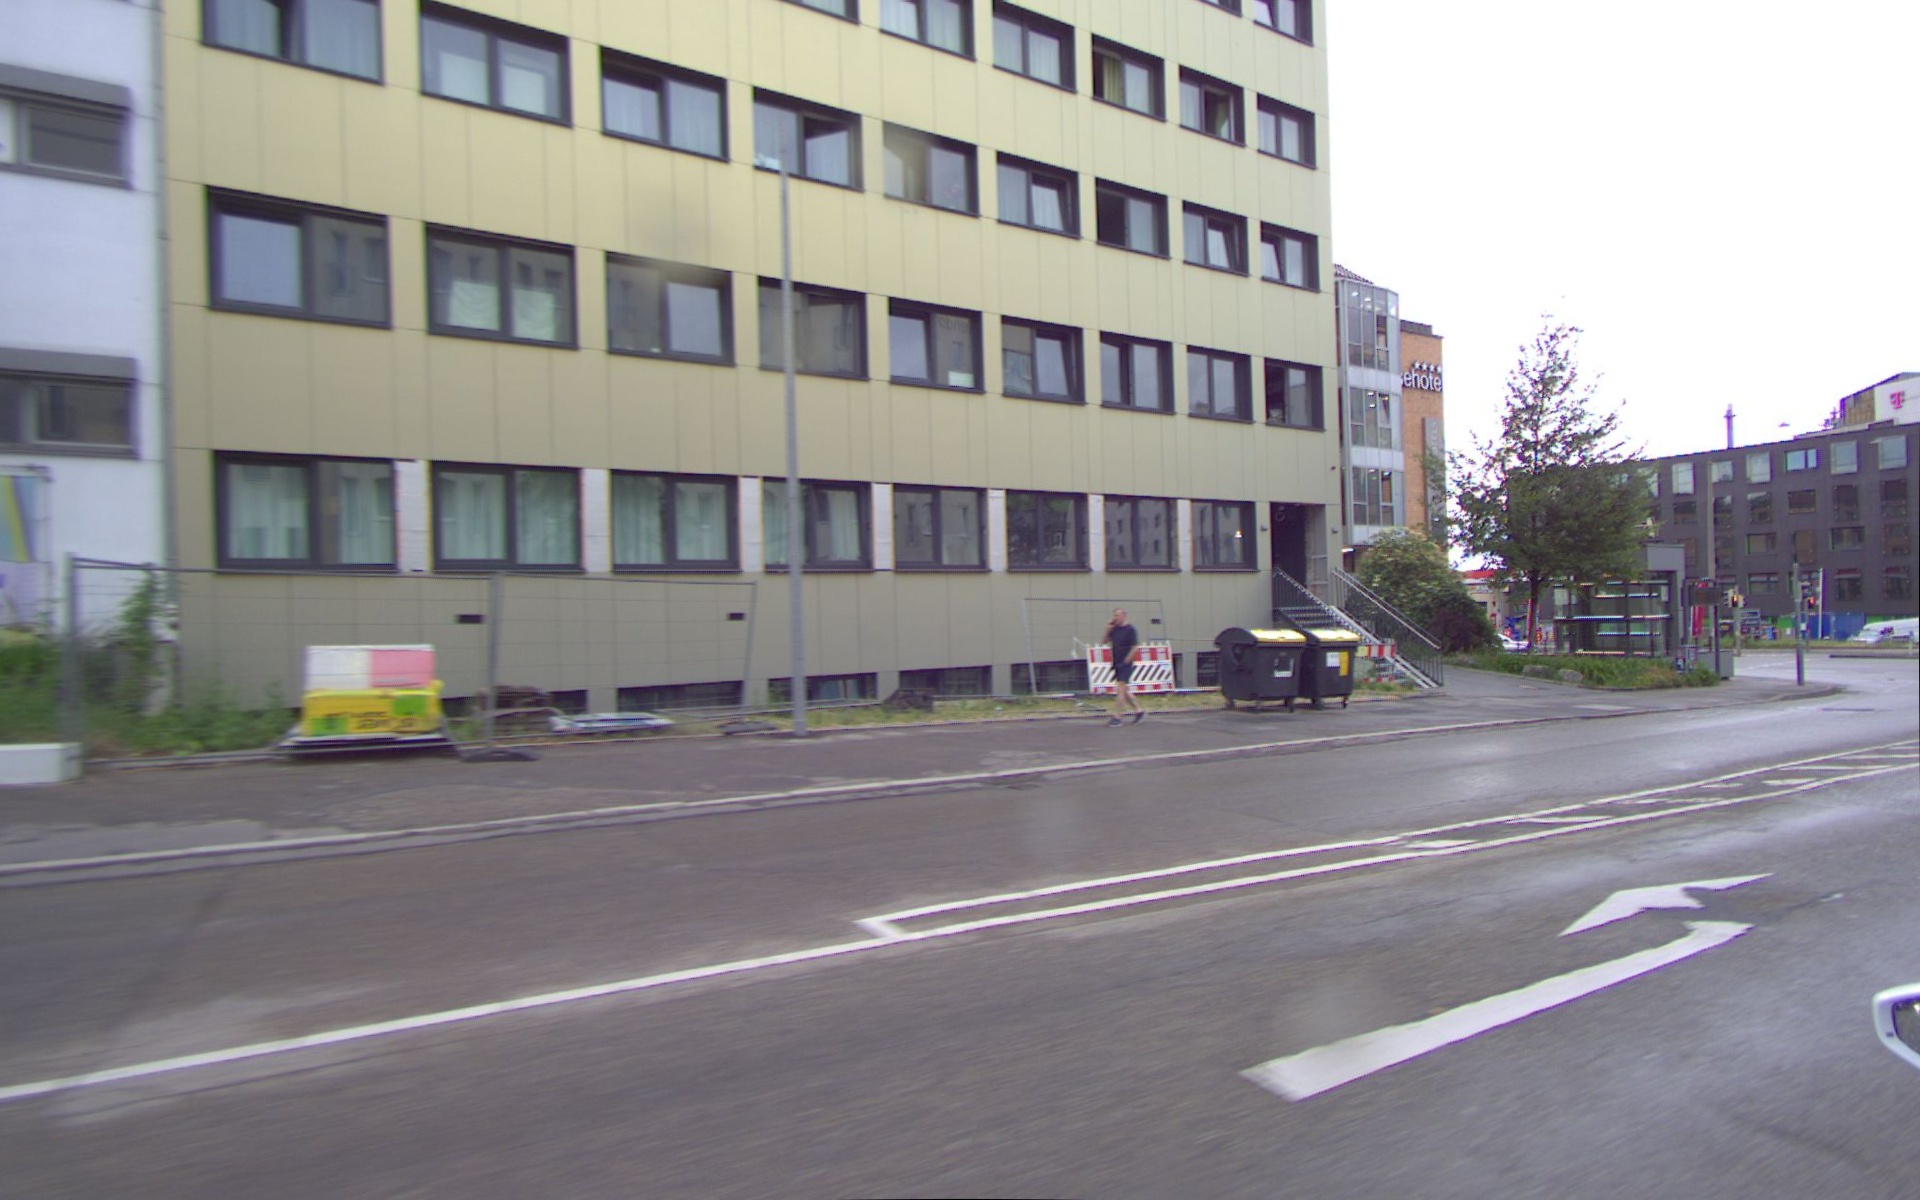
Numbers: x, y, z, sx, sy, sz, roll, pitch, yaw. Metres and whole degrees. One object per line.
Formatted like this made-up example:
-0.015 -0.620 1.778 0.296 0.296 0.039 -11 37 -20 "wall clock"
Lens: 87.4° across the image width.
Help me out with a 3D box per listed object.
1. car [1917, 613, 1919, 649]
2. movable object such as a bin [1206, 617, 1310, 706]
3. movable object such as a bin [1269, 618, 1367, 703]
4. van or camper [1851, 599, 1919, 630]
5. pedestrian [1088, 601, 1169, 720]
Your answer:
44.153 1.438 42.953 1.962 1.600 4.489 1 0 -3 "car"
5.247 1.061 17.706 1.413 1.464 1.049 2 1 -29 "movable object such as a bin"
6.576 1.093 18.476 1.342 1.464 1.049 2 1 -29 "movable object such as a bin"
75.409 1.185 80.621 2.708 2.400 5.302 2 0 -31 "van or camper"
2.569 0.904 15.346 0.930 1.755 0.752 2 0 -28 "pedestrian"
